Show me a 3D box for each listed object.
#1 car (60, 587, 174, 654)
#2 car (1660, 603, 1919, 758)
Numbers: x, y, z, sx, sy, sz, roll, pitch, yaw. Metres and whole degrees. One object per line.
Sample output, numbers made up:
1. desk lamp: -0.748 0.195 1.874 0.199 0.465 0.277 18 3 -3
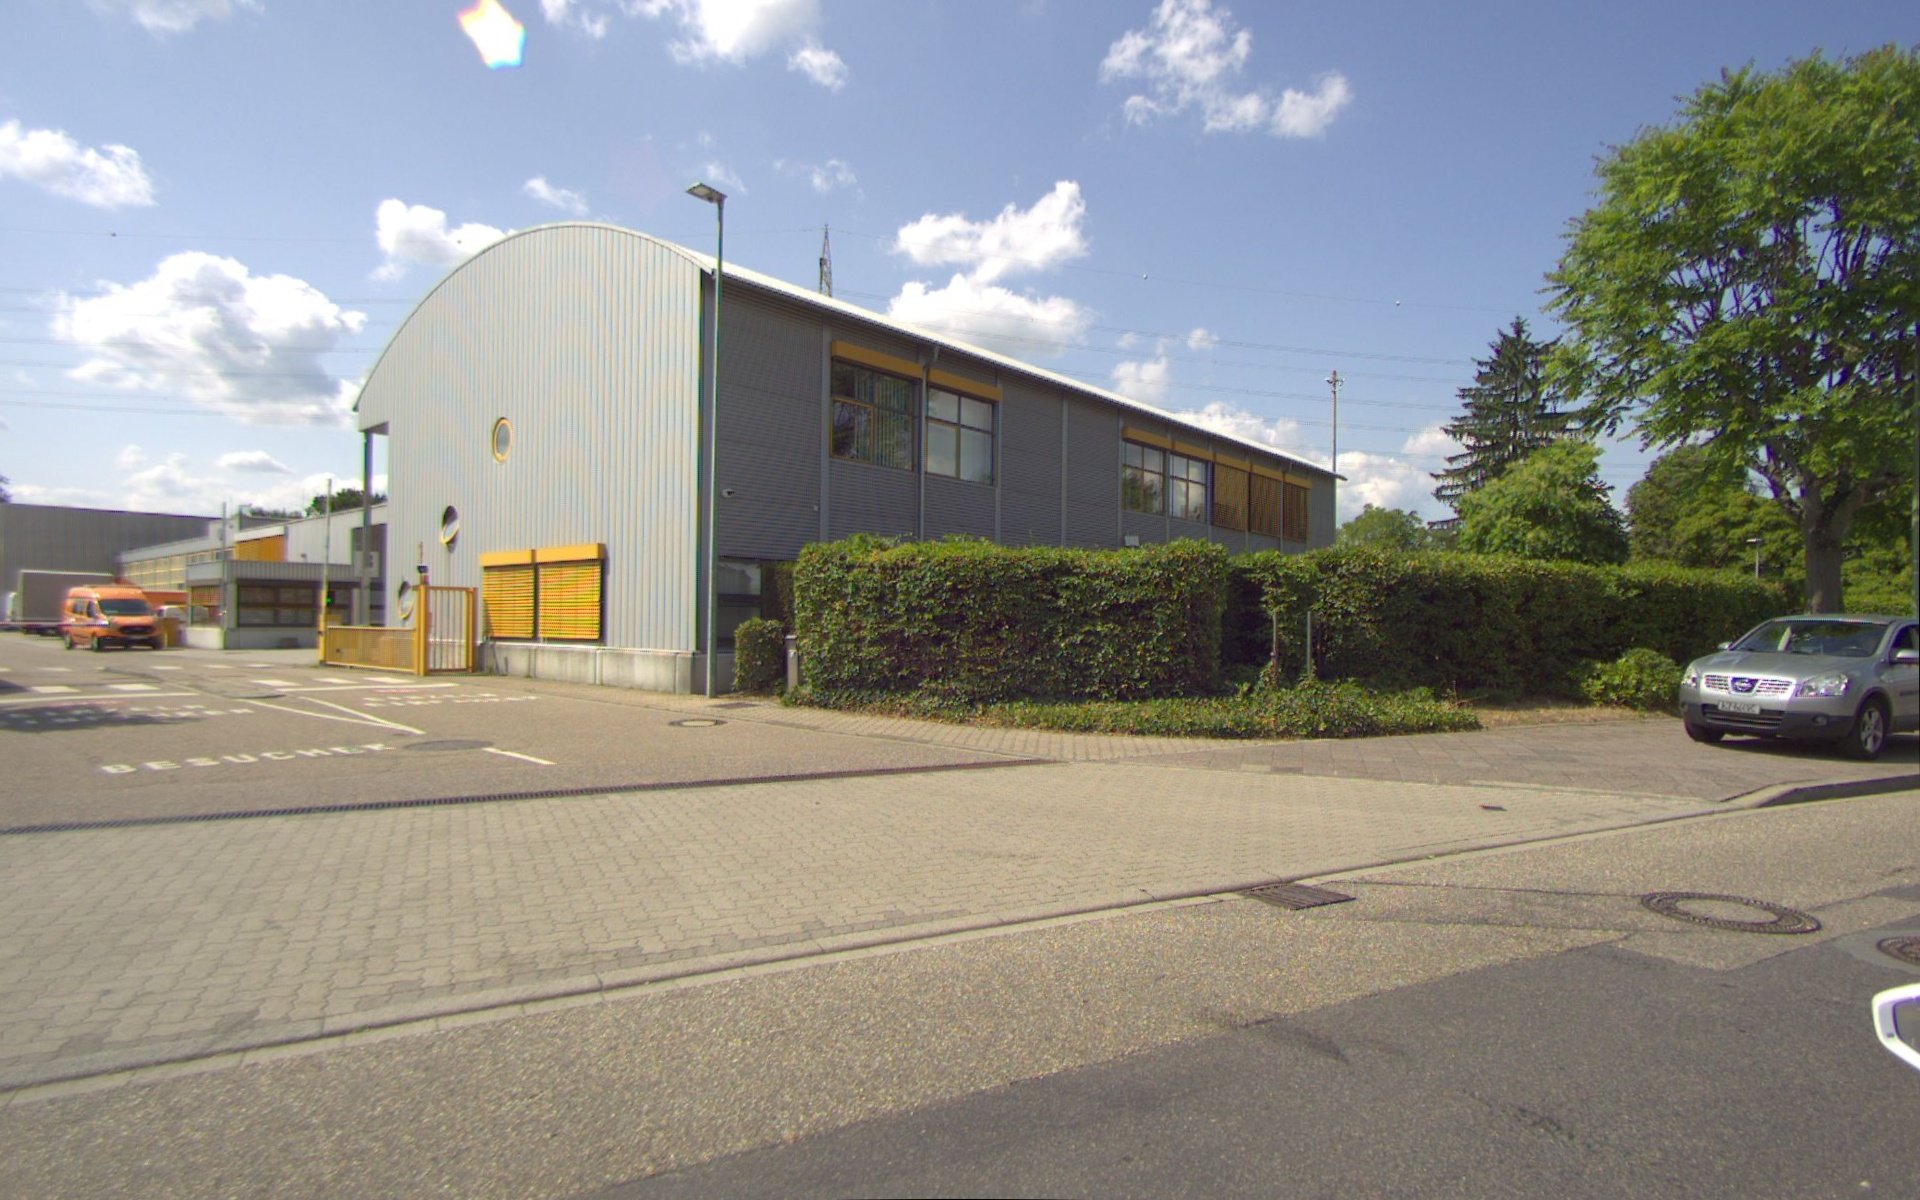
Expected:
1. car: -31.538 0.733 37.548 4.551 2.274 2.036 2 0 33
2. car: 10.750 0.894 12.241 4.419 1.595 1.751 2 0 -27
